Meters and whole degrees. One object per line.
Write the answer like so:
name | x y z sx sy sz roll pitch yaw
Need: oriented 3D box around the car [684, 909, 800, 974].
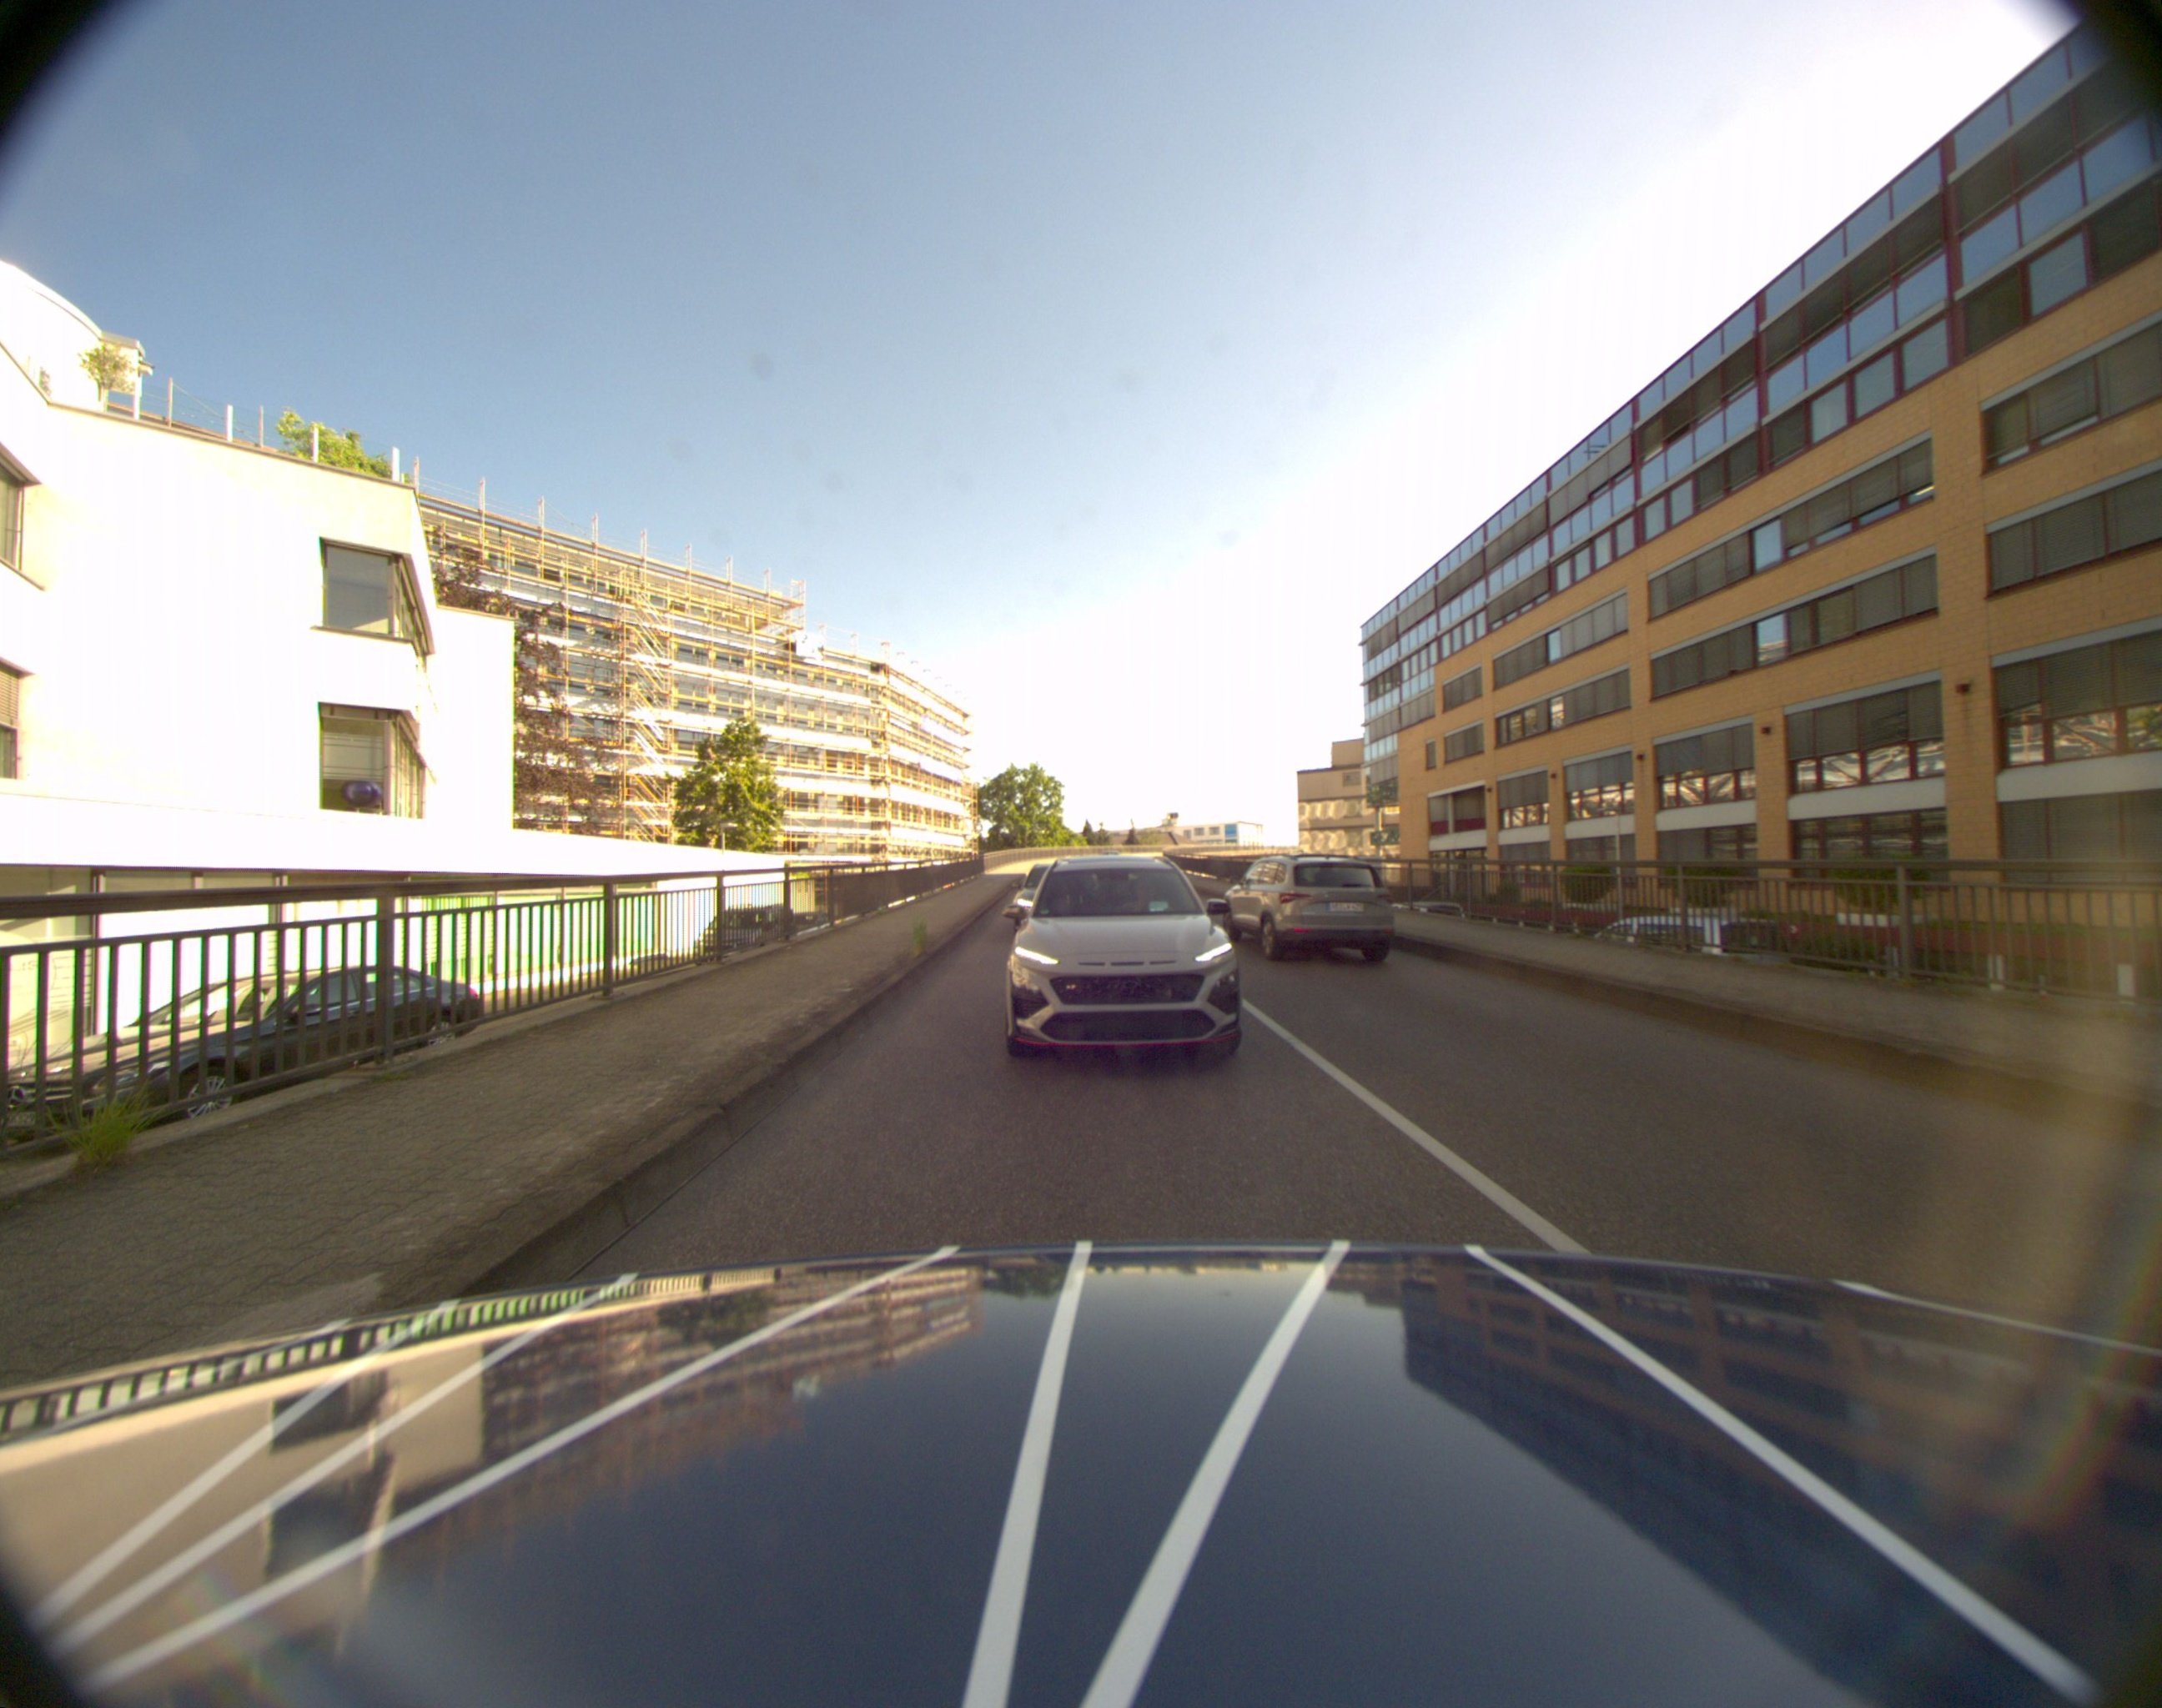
car | -10.042 2.544 22.857 1.726 1.513 4.000 -2 -1 -1

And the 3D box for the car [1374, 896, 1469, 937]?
car | 12.621 2.280 28.408 1.766 1.261 3.809 0 -1 -1

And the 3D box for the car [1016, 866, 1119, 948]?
car | -0.303 1.013 16.131 1.902 1.433 4.126 0 0 -2

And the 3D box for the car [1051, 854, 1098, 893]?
car | -0.317 0.870 35.253 1.952 1.456 3.998 3 2 -1

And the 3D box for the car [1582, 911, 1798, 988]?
car | 12.957 1.985 16.502 1.580 1.261 3.809 0 -1 -1

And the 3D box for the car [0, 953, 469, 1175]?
car | -9.639 2.165 8.849 1.726 1.513 4.001 -2 -1 0

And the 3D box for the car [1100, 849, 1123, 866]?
car | 2.518 0.281 62.874 1.746 1.399 4.201 0 0 0

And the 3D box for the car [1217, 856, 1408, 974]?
car | 3.553 0.850 12.463 1.809 1.614 3.999 0 0 -2

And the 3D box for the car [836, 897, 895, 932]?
car | -10.439 2.893 37.102 1.726 1.383 4.000 -2 -1 -1

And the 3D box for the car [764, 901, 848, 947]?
car | -10.261 2.570 28.643 1.726 1.383 4.000 -2 -1 -1

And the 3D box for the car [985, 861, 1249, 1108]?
car | 0.254 0.902 7.054 1.749 1.637 4.001 0 -1 0
